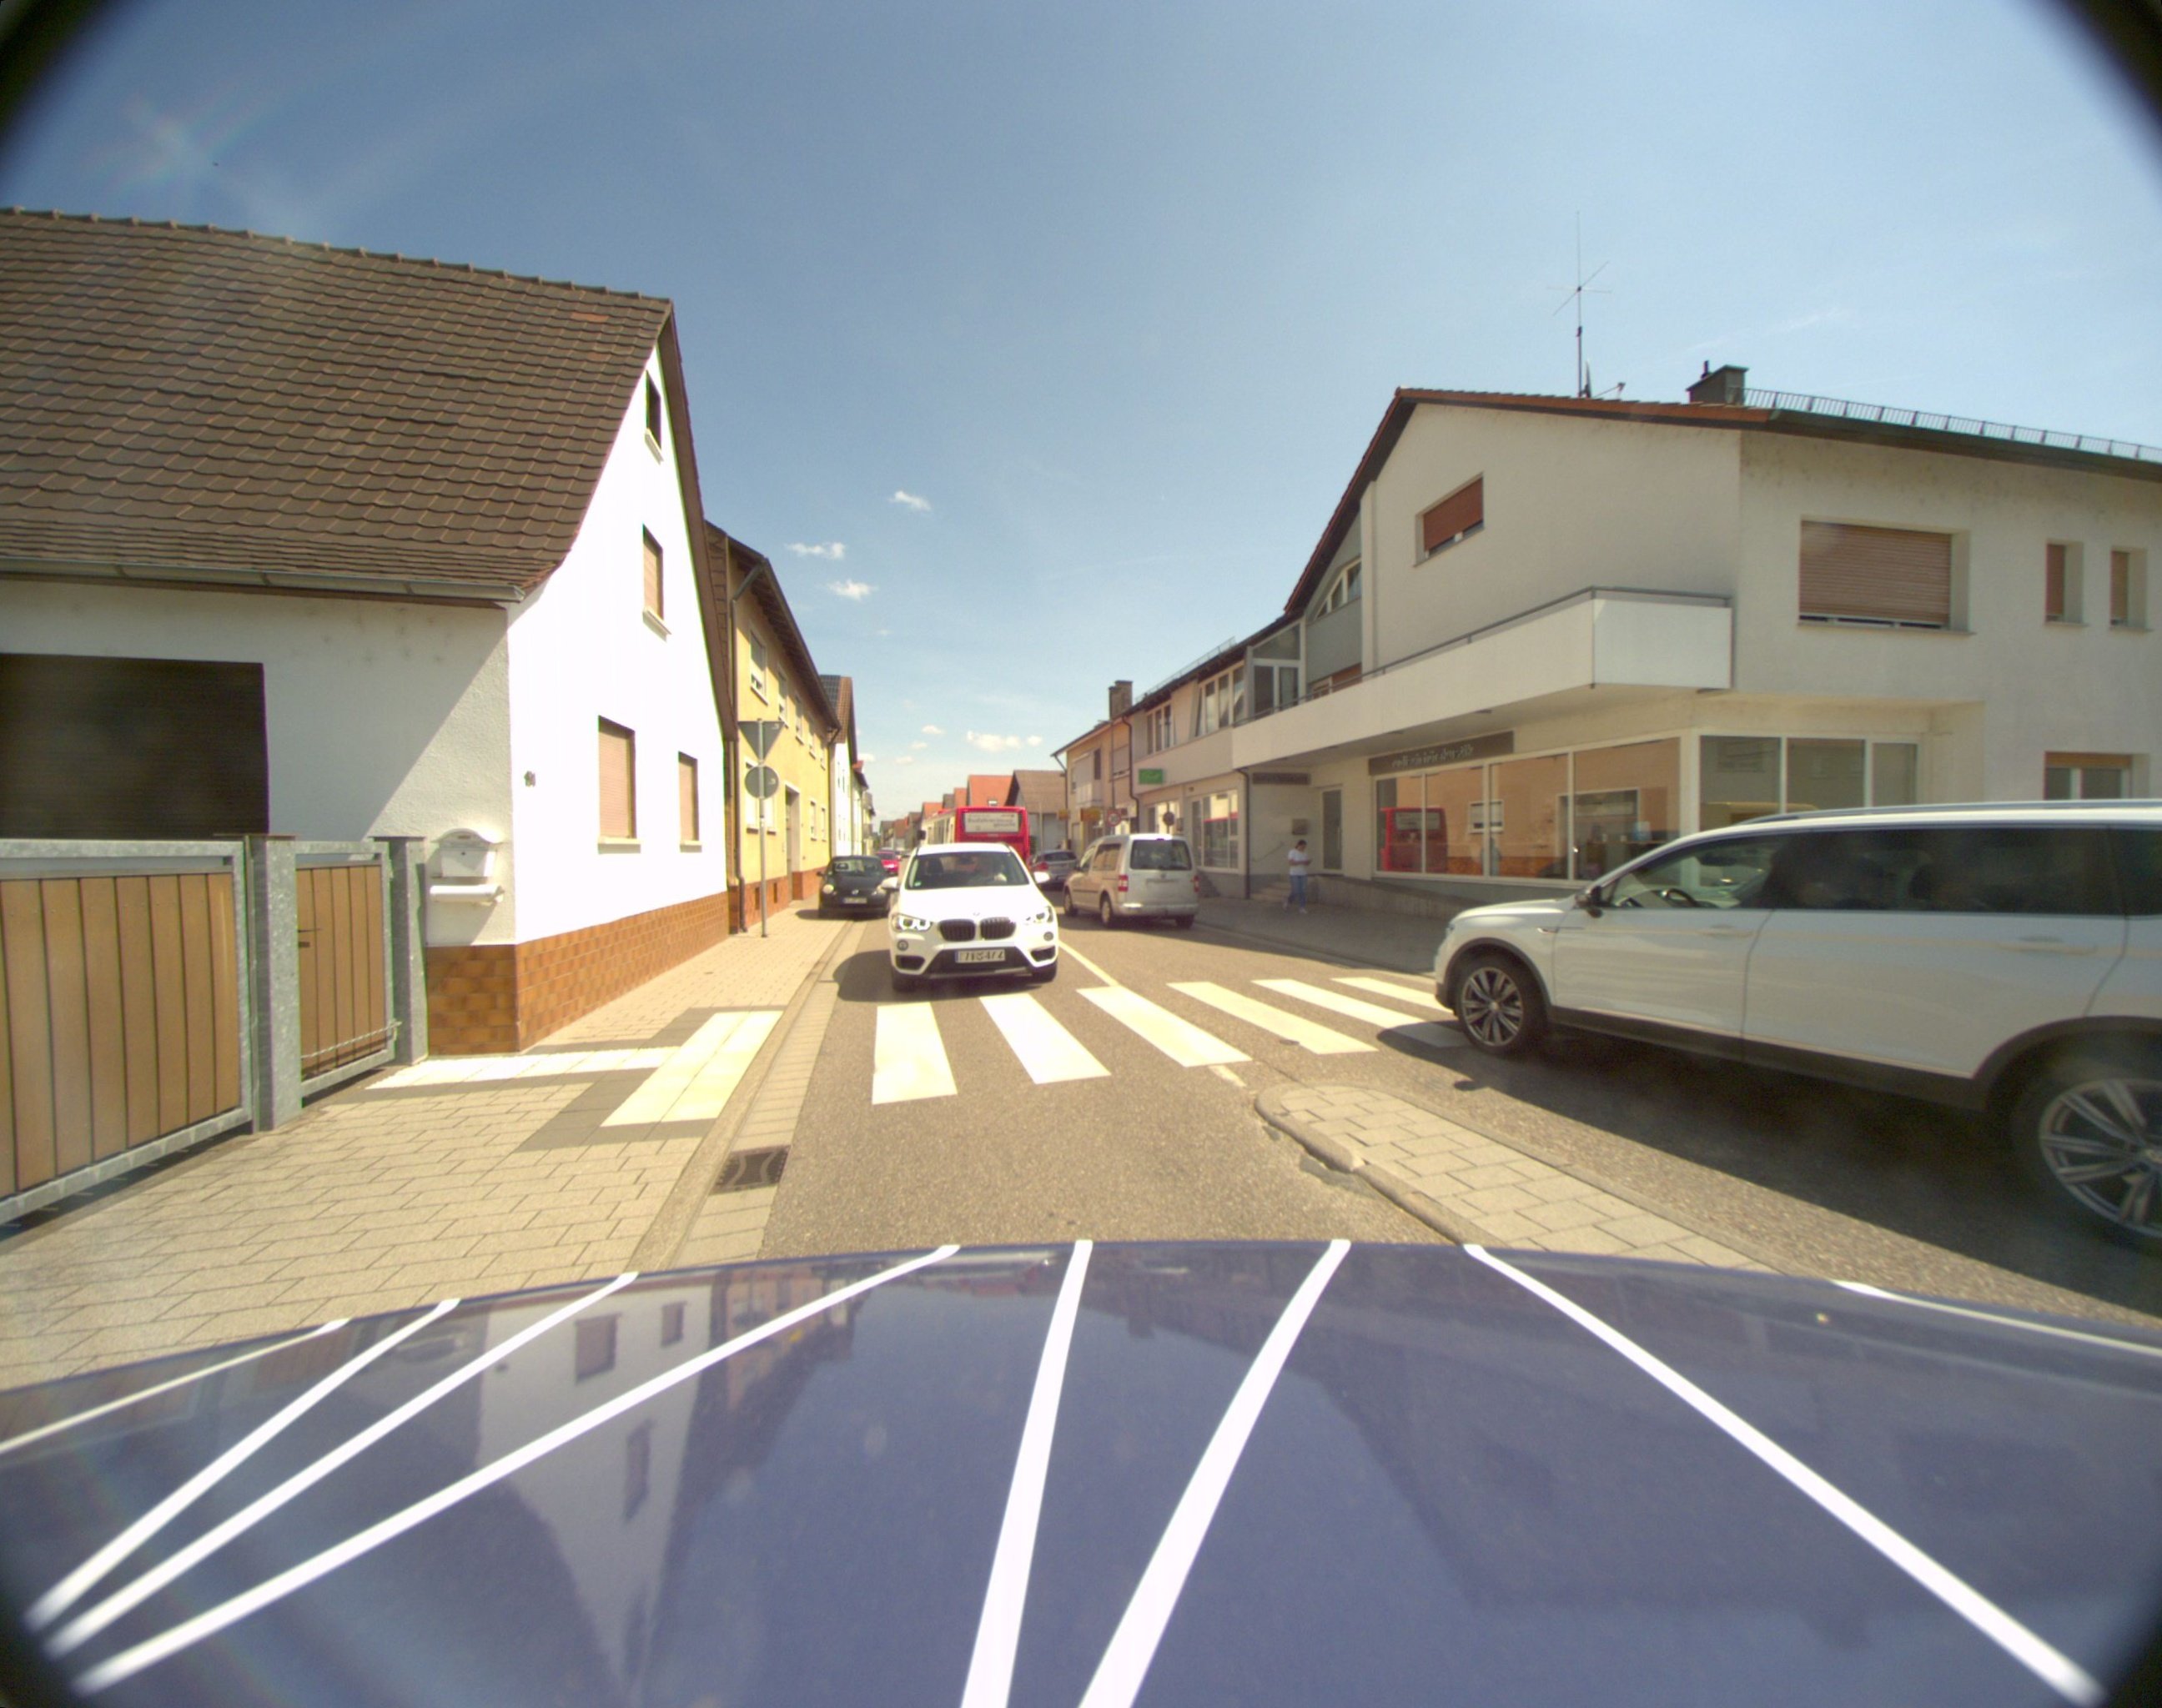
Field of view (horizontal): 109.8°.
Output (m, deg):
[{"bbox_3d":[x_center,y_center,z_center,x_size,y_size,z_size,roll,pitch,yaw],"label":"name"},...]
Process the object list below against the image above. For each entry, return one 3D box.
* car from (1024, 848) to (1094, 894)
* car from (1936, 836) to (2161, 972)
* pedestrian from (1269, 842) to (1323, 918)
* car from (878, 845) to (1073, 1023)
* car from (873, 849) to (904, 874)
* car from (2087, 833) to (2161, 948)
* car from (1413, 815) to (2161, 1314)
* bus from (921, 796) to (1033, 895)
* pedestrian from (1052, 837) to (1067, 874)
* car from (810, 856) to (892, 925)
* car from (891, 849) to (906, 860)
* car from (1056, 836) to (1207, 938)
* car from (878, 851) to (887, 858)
[{"bbox_3d":[-0.940,0.592,29.624,1.750,1.507,3.994,-5,2,-15],"label":"car"},{"bbox_3d":[12.618,0.544,7.980,1.837,1.442,4.472,-1,2,-14],"label":"car"},{"bbox_3d":[4.717,0.551,16.711,0.758,1.575,0.955,-3,2,-12],"label":"pedestrian"},{"bbox_3d":[-1.512,0.762,9.677,1.847,1.636,4.368,-3,1,-13],"label":"car"},{"bbox_3d":[-11.658,0.443,46.064,1.767,1.420,4.183,-1,1,-14],"label":"car"},{"bbox_3d":[15.144,0.487,8.711,1.754,1.469,3.958,-1,2,-14],"label":"car"},{"bbox_3d":[4.192,0.719,3.998,1.874,1.700,4.534,1,0,-19],"label":"car"},{"bbox_3d":[-4.606,-0.340,30.775,2.637,3.213,12.003,1,0,-17],"label":"bus"},{"bbox_3d":[-1.085,0.073,38.086,0.579,1.780,0.692,-3,3,-14],"label":"pedestrian"},{"bbox_3d":[-5.452,0.804,18.373,1.692,1.454,3.624,1,0,-14],"label":"car"},{"bbox_3d":[-25.154,0.046,104.505,1.767,1.420,4.182,-1,1,-17],"label":"car"},{"bbox_3d":[0.867,0.574,15.924,1.778,1.810,4.435,0,1,-16],"label":"car"},{"bbox_3d":[-44.674,0.077,171.008,1.767,1.420,3.846,-1,1,-17],"label":"car"}]
